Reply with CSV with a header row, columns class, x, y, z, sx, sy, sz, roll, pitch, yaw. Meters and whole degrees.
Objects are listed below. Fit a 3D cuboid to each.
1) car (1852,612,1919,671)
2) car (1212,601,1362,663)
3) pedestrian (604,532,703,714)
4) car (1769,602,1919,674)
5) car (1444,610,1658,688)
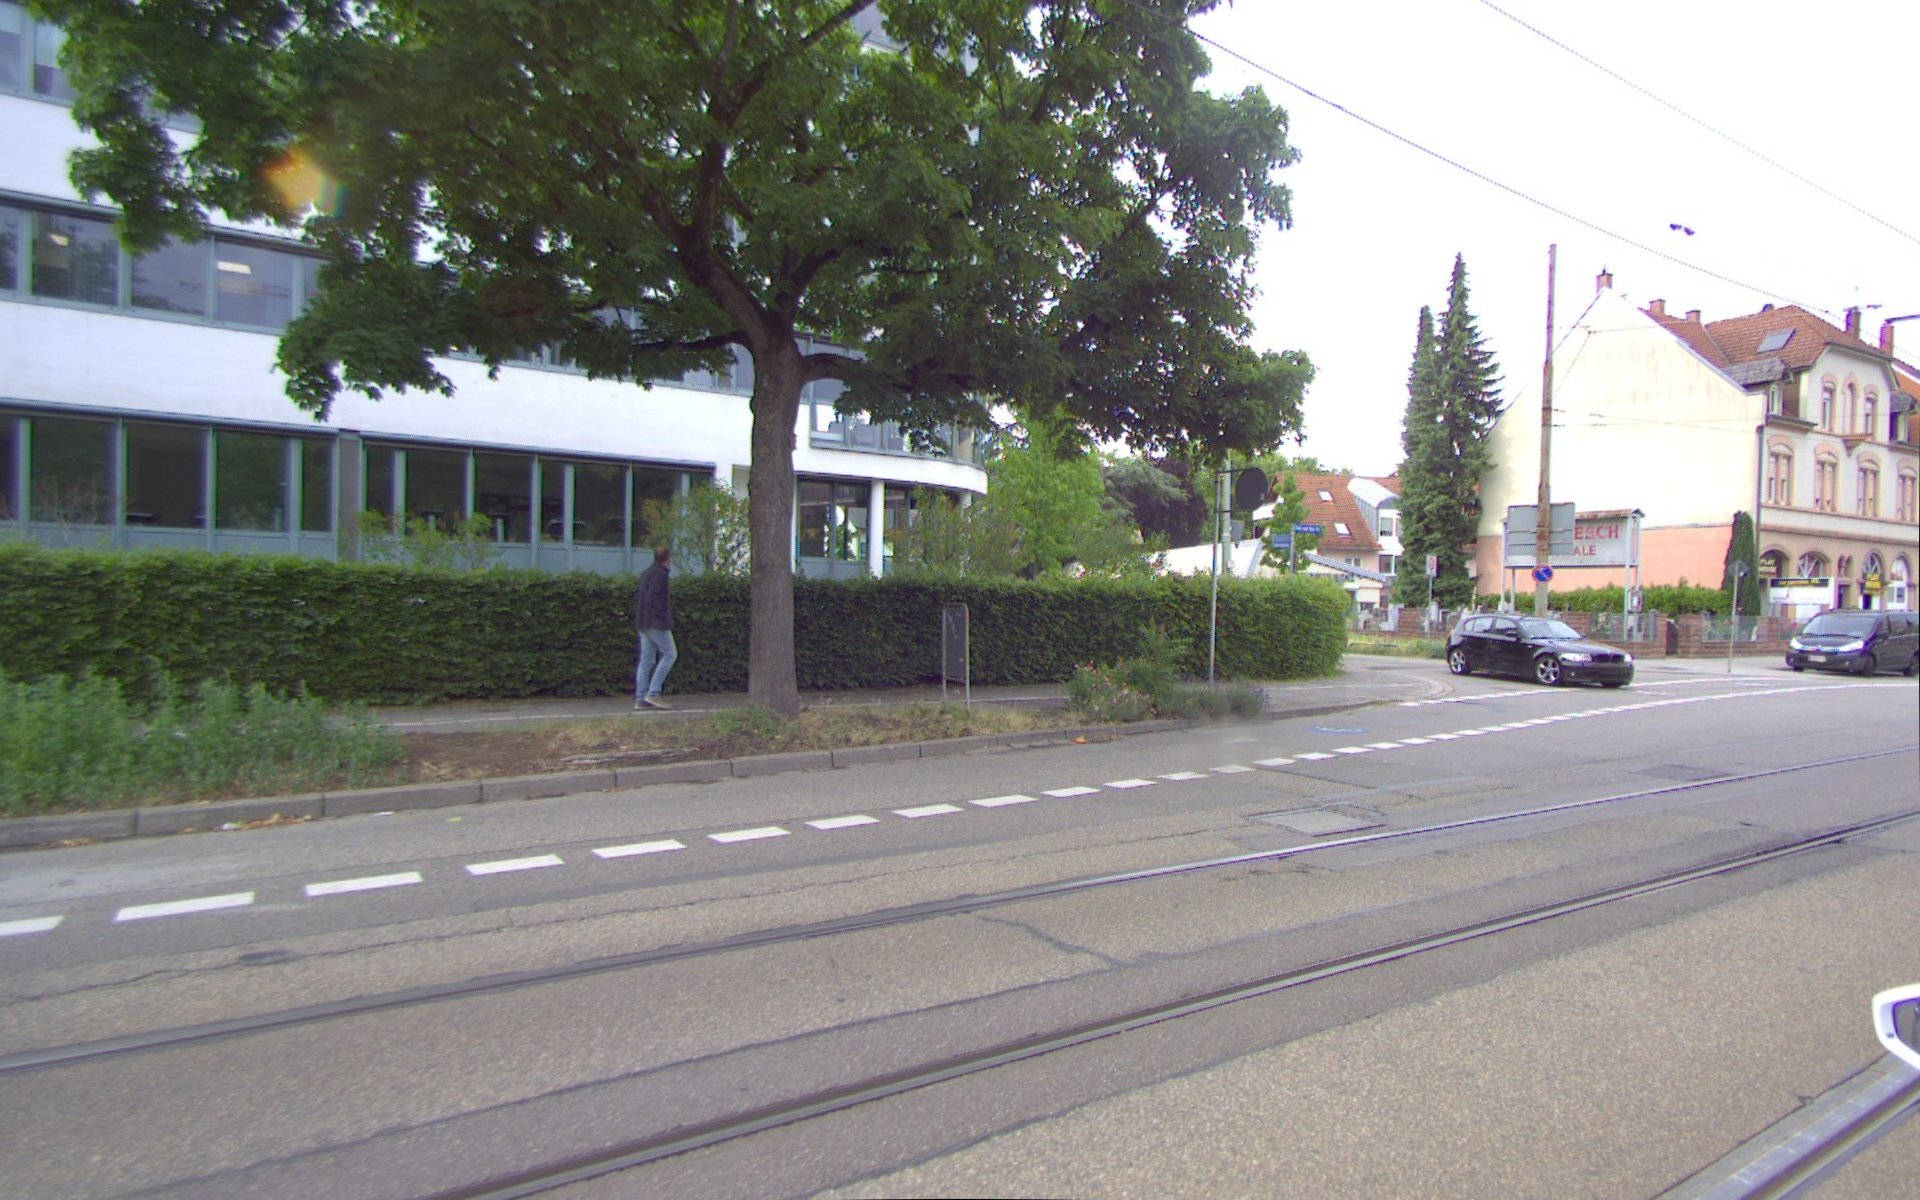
class,x,y,z,sx,sy,sz,roll,pitch,yaw
car,31.319,1.362,32.912,4.143,1.741,1.836,2,1,-30
car,8.925,0.812,27.678,1.747,1.437,3.691,-1,2,-30
pedestrian,-3.596,0.260,11.770,0.977,2.041,0.708,2,1,-24
car,26.391,1.128,29.747,4.936,1.912,1.983,2,1,-29
car,12.289,0.963,21.218,1.770,1.406,3.925,1,0,-10
